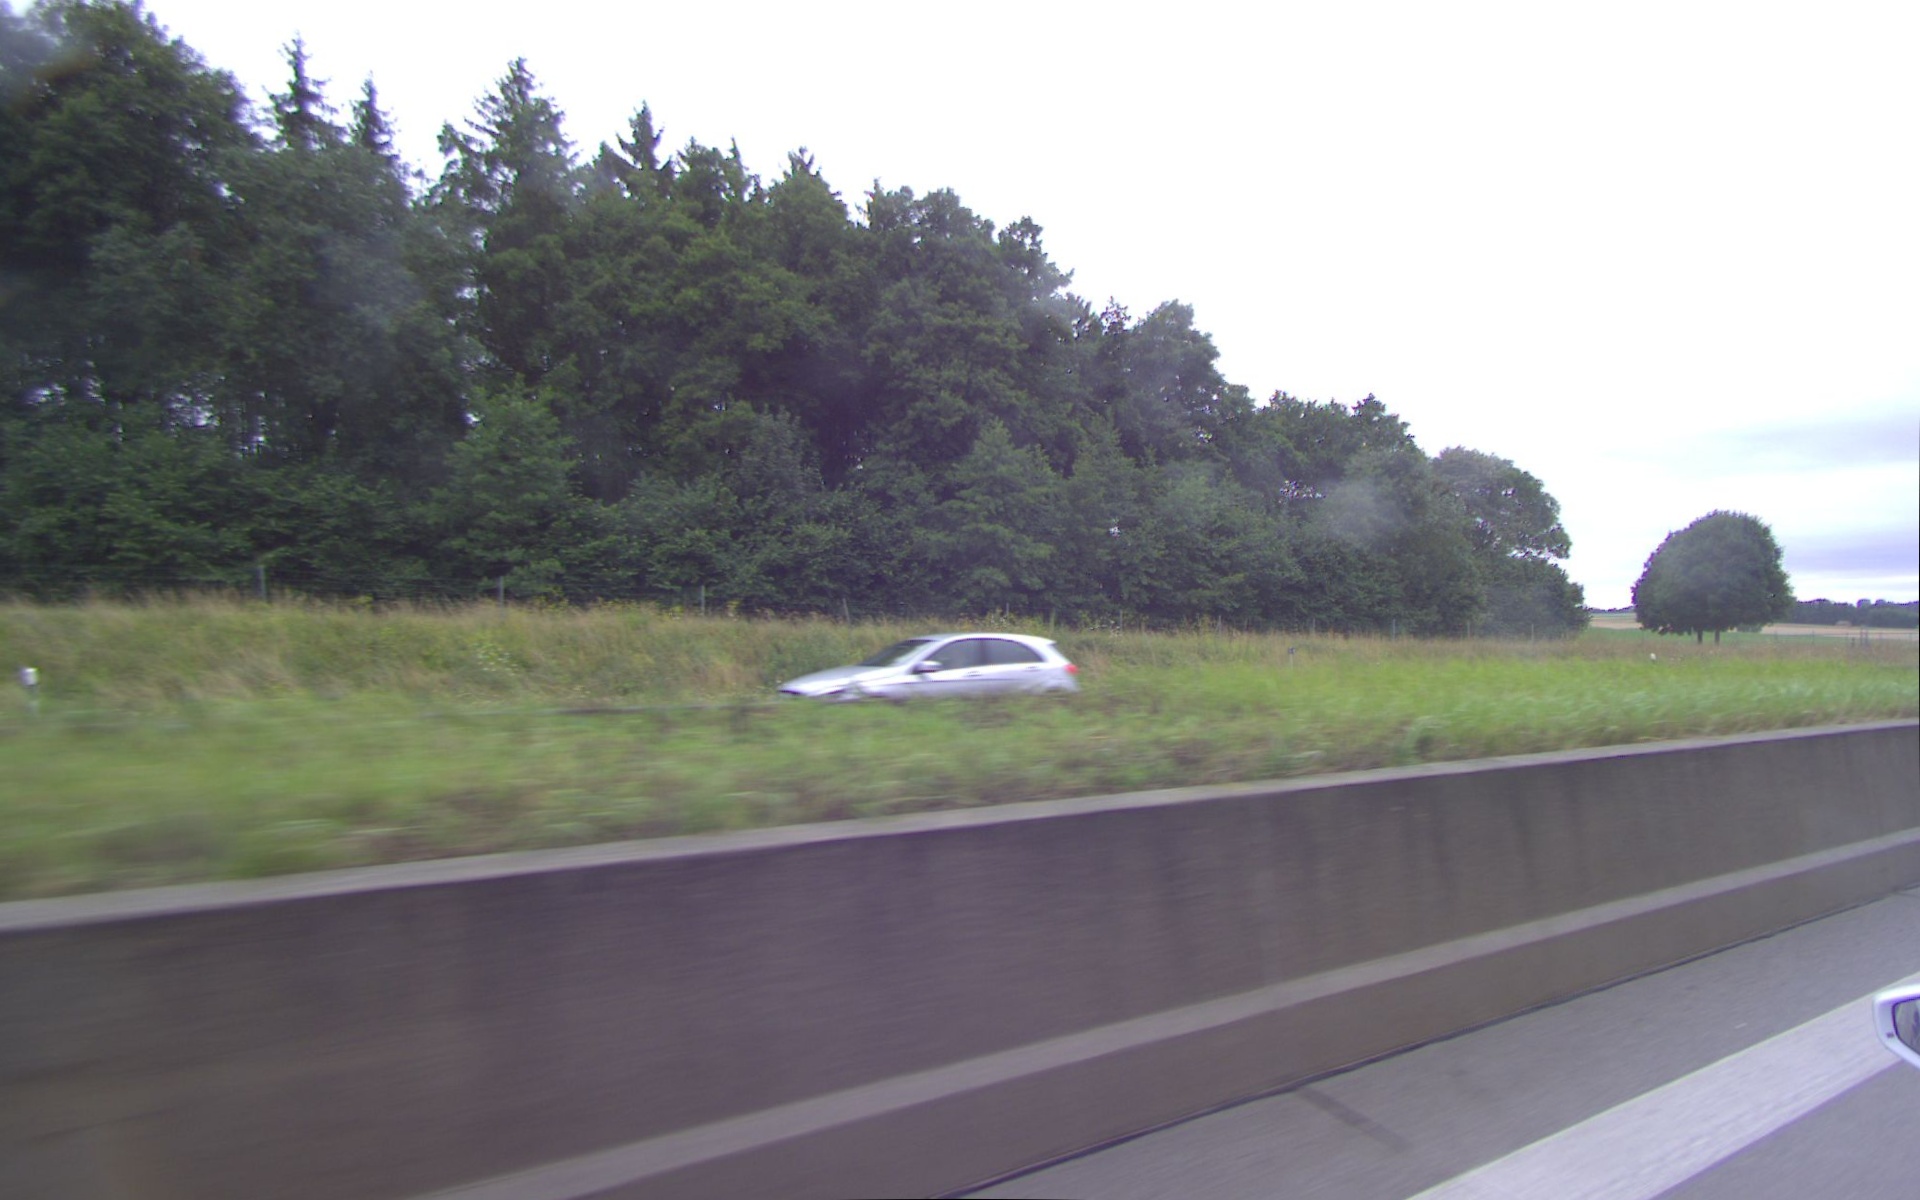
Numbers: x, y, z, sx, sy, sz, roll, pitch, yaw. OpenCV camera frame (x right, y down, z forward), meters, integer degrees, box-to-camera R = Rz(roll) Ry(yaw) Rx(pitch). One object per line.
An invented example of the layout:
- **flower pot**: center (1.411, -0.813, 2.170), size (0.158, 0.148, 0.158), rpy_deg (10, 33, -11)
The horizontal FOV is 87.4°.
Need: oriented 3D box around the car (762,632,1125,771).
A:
- **car**: center (-0.147, 1.226, 13.436), size (4.586, 1.563, 1.803), rpy_deg (1, -2, -31)
